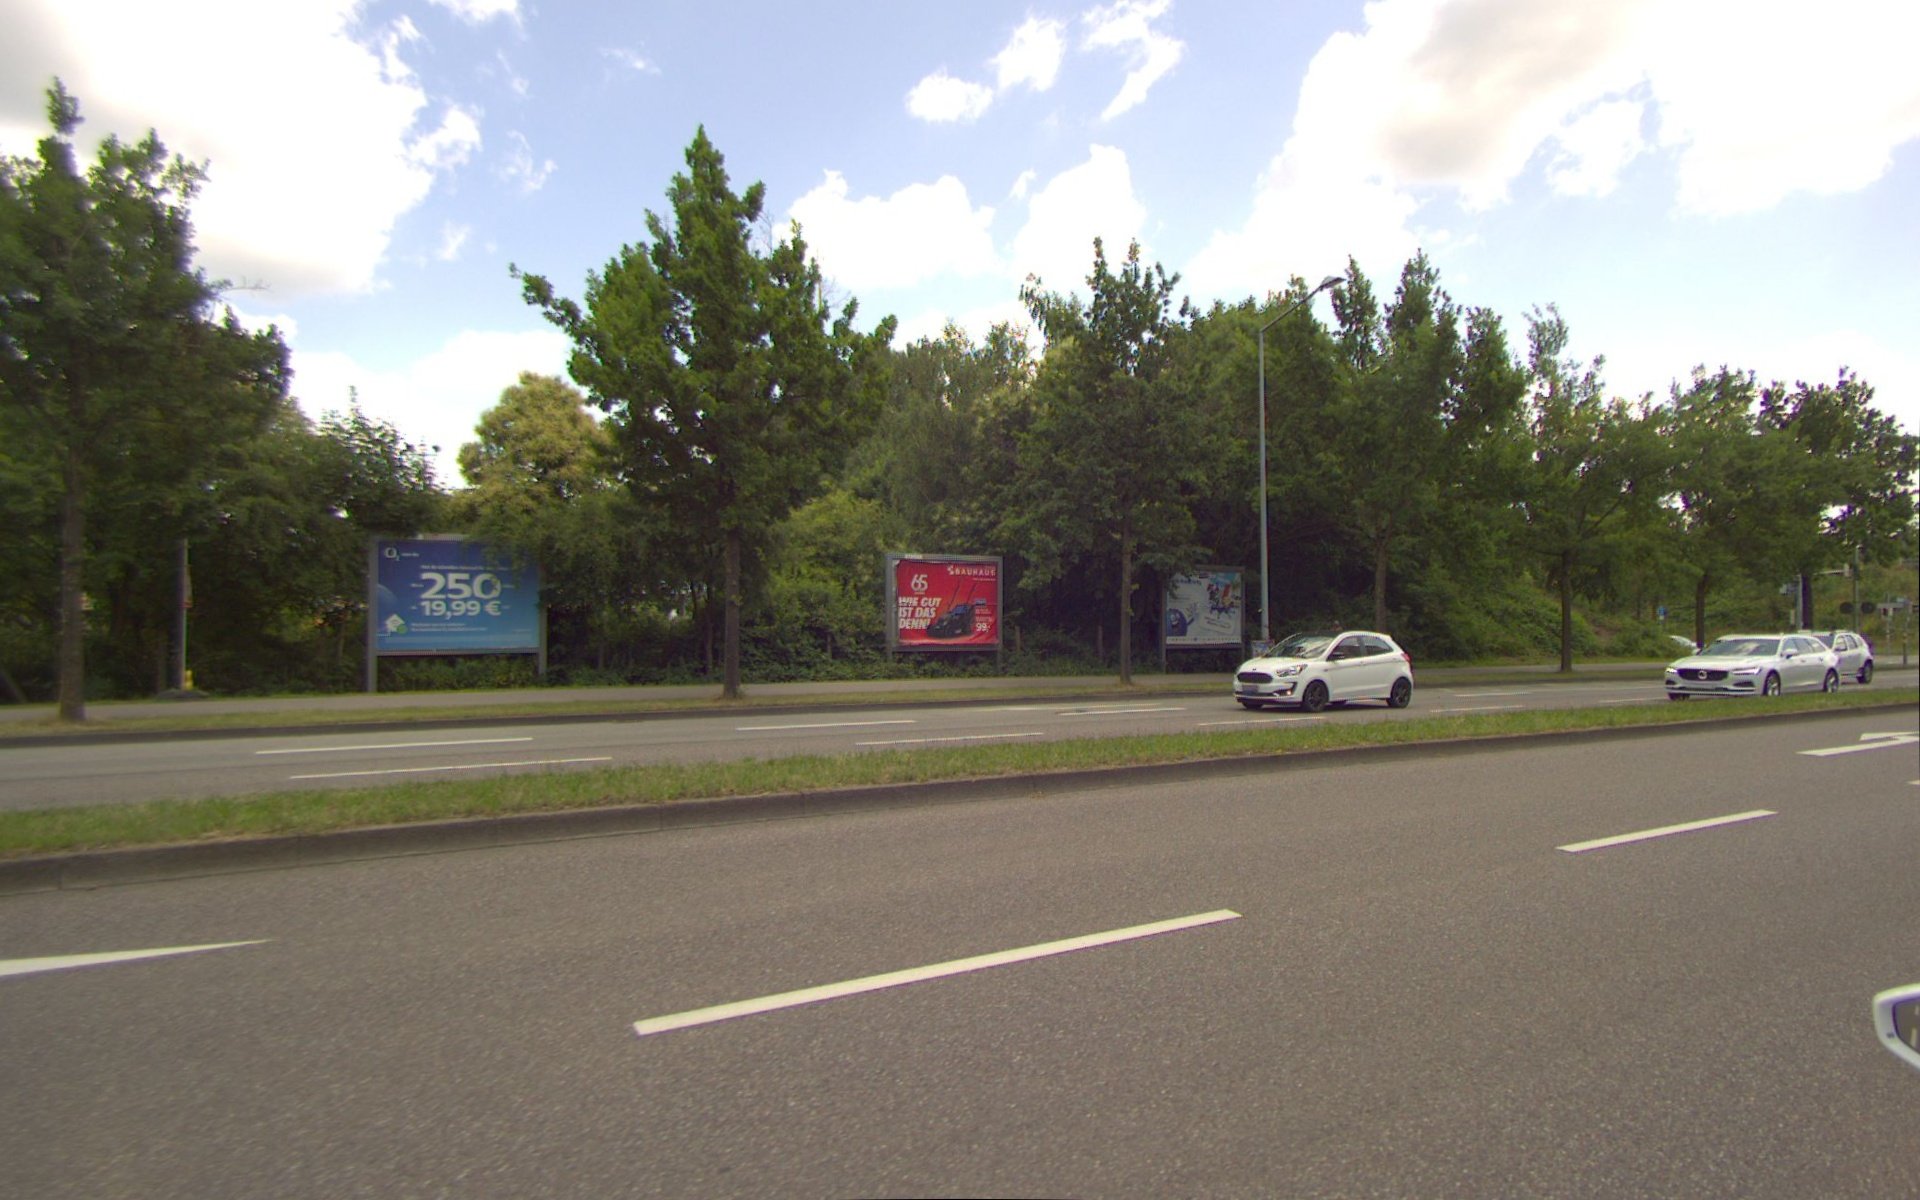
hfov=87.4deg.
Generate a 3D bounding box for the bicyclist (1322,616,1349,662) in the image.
[{"bbox_3d":[12.505,1.296,33.448,0.705,1.484,0.491,1,0,-31],"label":"bicyclist"}]

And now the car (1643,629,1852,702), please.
[{"bbox_3d":[17.546,1.391,22.320,4.965,1.450,1.984,1,-2,-30],"label":"car"}]

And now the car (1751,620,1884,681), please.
[{"bbox_3d":[27.449,1.572,32.122,4.360,1.825,1.983,1,-2,-32],"label":"car"}]

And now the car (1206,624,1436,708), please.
[{"bbox_3d":[7.063,1.251,19.567,4.365,1.461,1.905,1,-4,-32],"label":"car"}]

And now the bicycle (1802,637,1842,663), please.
[{"bbox_3d":[45.206,2.607,52.690,2.364,1.287,0.818,2,0,-29],"label":"bicycle"}]
